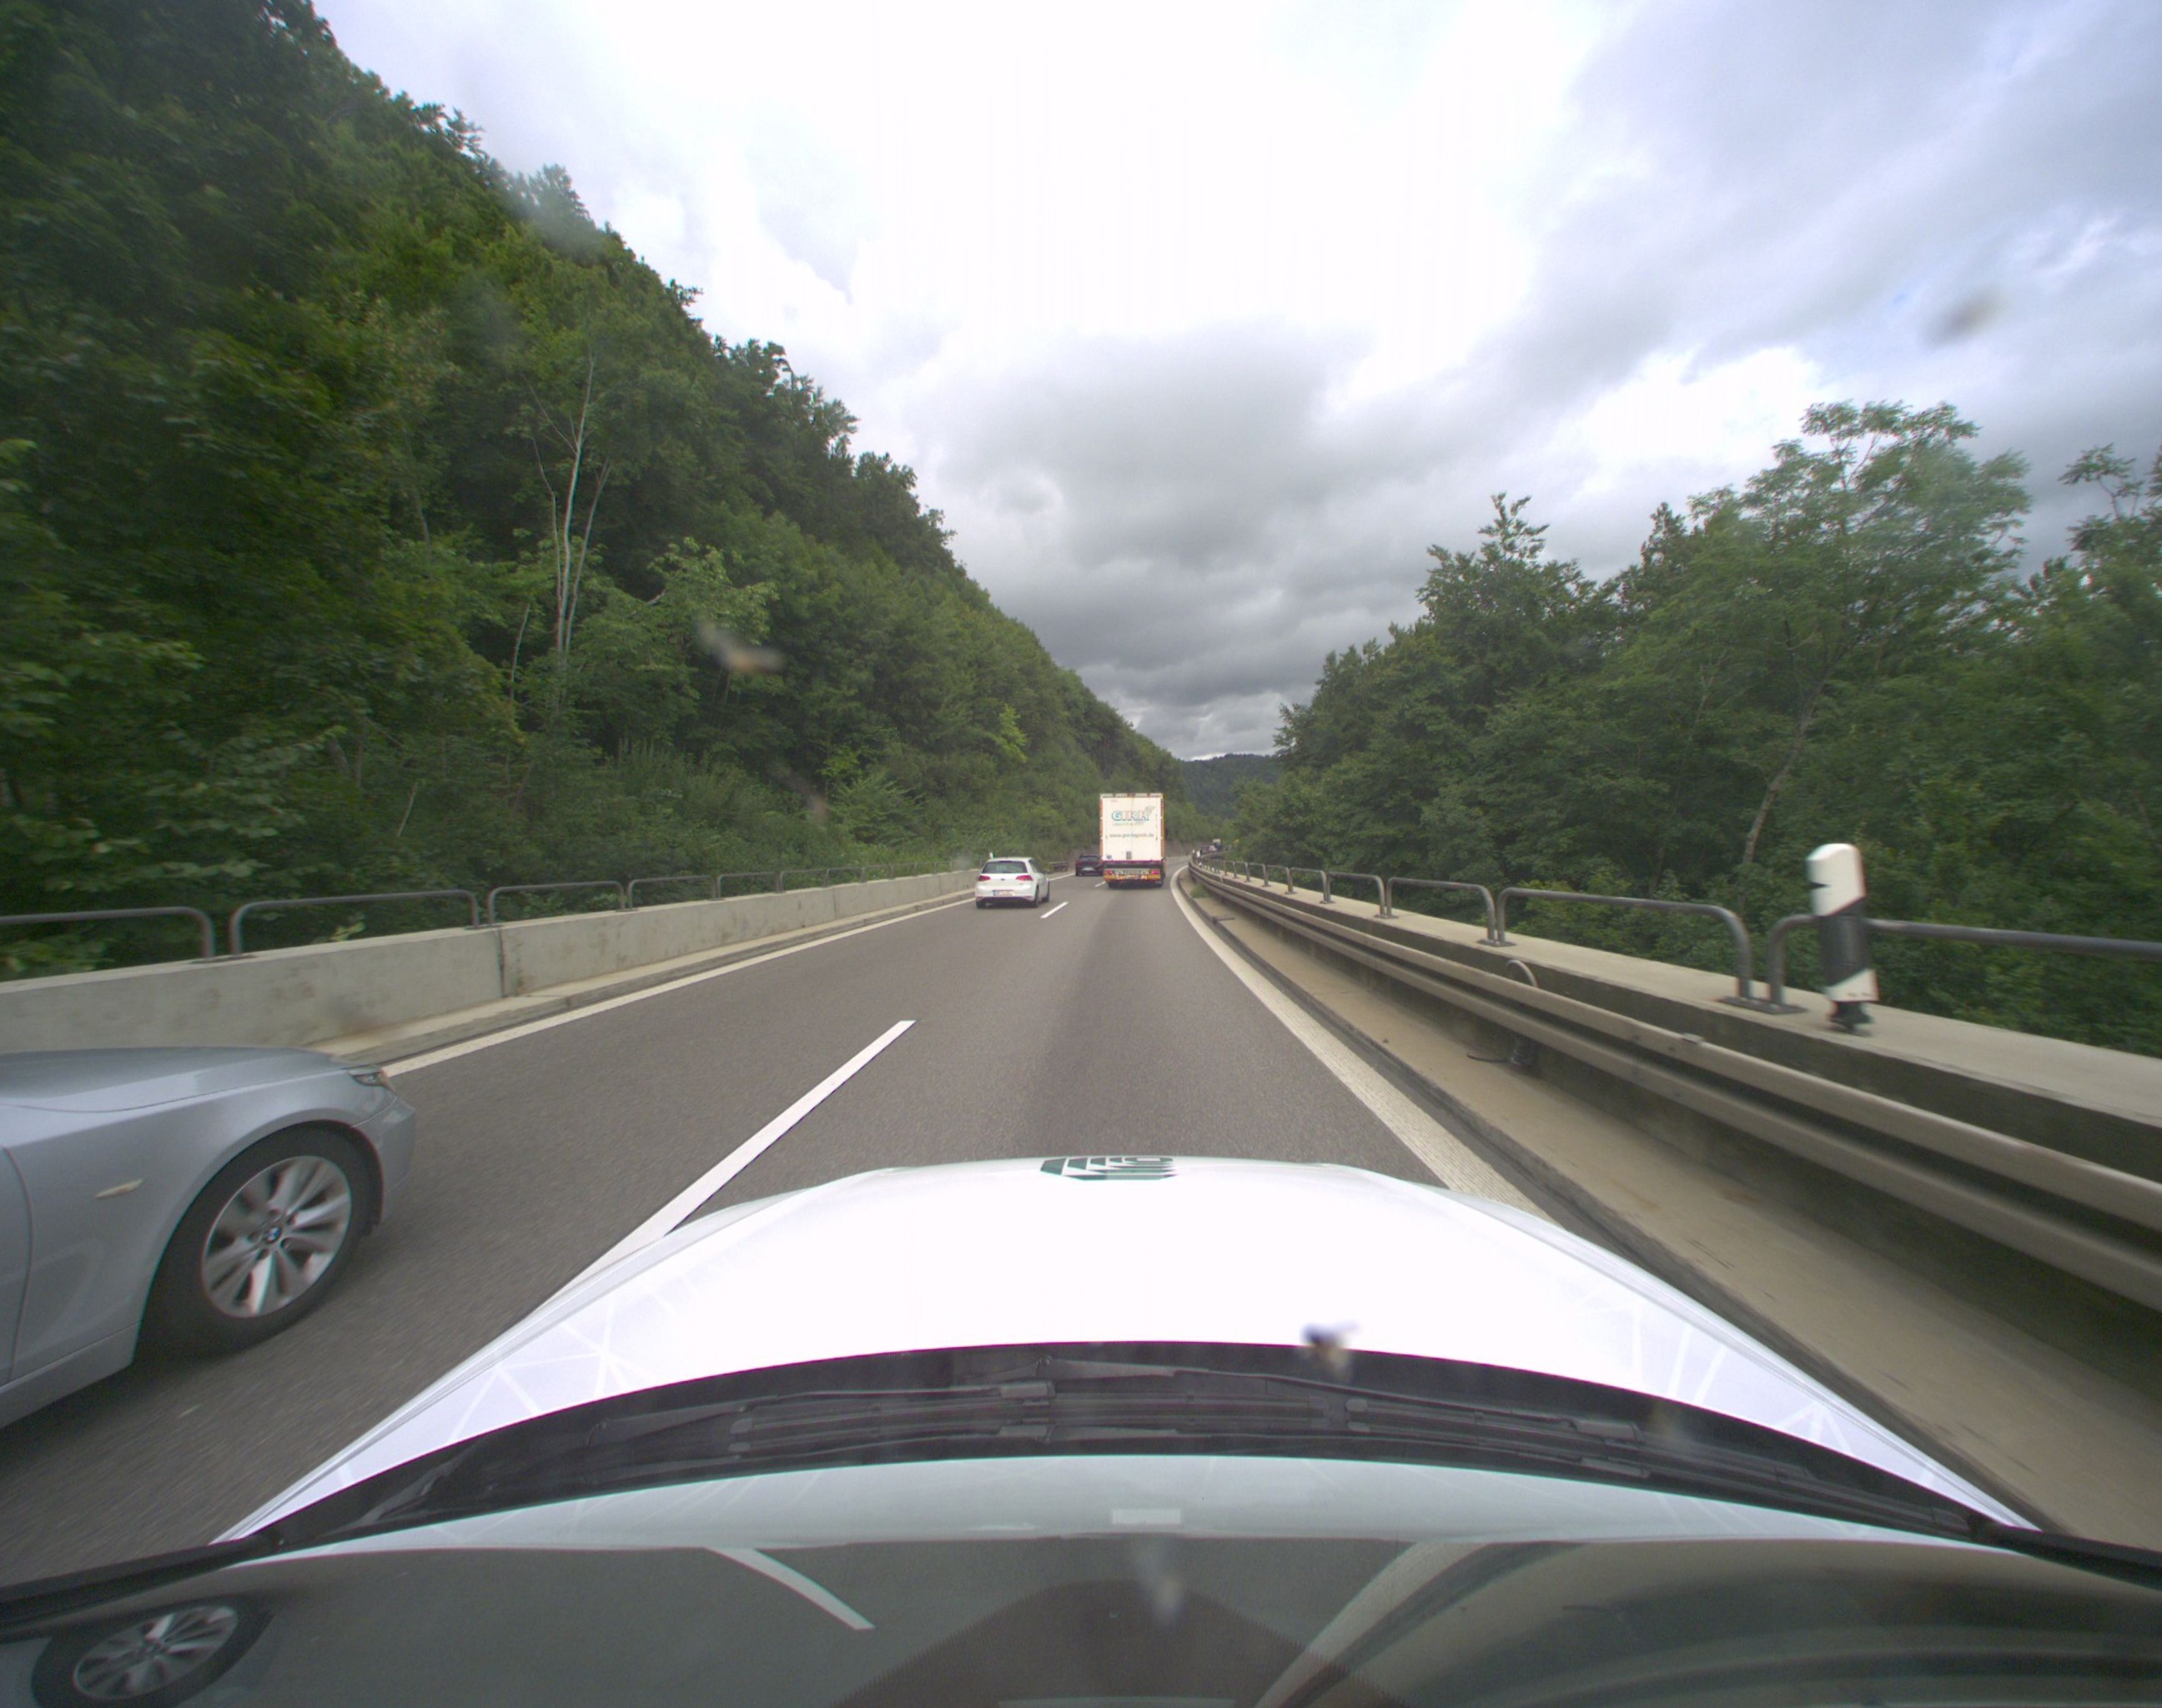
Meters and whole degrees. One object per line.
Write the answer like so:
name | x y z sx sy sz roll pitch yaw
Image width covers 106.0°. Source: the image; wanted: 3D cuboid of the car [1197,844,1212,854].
car | 21.233 -0.782 140.109 1.978 1.565 4.017 -2 -1 16

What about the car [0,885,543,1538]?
car | -3.448 0.876 1.198 1.822 1.457 5.135 -1 0 1

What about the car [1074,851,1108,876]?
car | 0.690 0.595 52.663 1.765 1.461 4.588 -2 -1 5

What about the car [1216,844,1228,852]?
car | 32.008 -1.303 184.883 1.977 1.783 4.020 -1 0 20

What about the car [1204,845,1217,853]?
car | 26.646 -0.986 167.900 1.977 1.486 4.019 -1 0 19

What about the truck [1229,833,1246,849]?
truck | 40.291 -3.387 209.731 2.485 3.858 8.181 -3 -1 23

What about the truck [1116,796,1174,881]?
truck | 3.666 -0.760 45.354 2.798 4.302 6.271 -2 -1 7

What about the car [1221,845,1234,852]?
car | 29.935 -1.134 166.372 1.977 1.486 4.019 -1 0 19

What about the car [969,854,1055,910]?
car | -1.969 0.765 24.539 1.836 1.482 4.633 -1 0 4

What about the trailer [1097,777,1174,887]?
trailer | 2.870 -0.812 38.919 2.798 4.302 12.268 -2 -1 7
